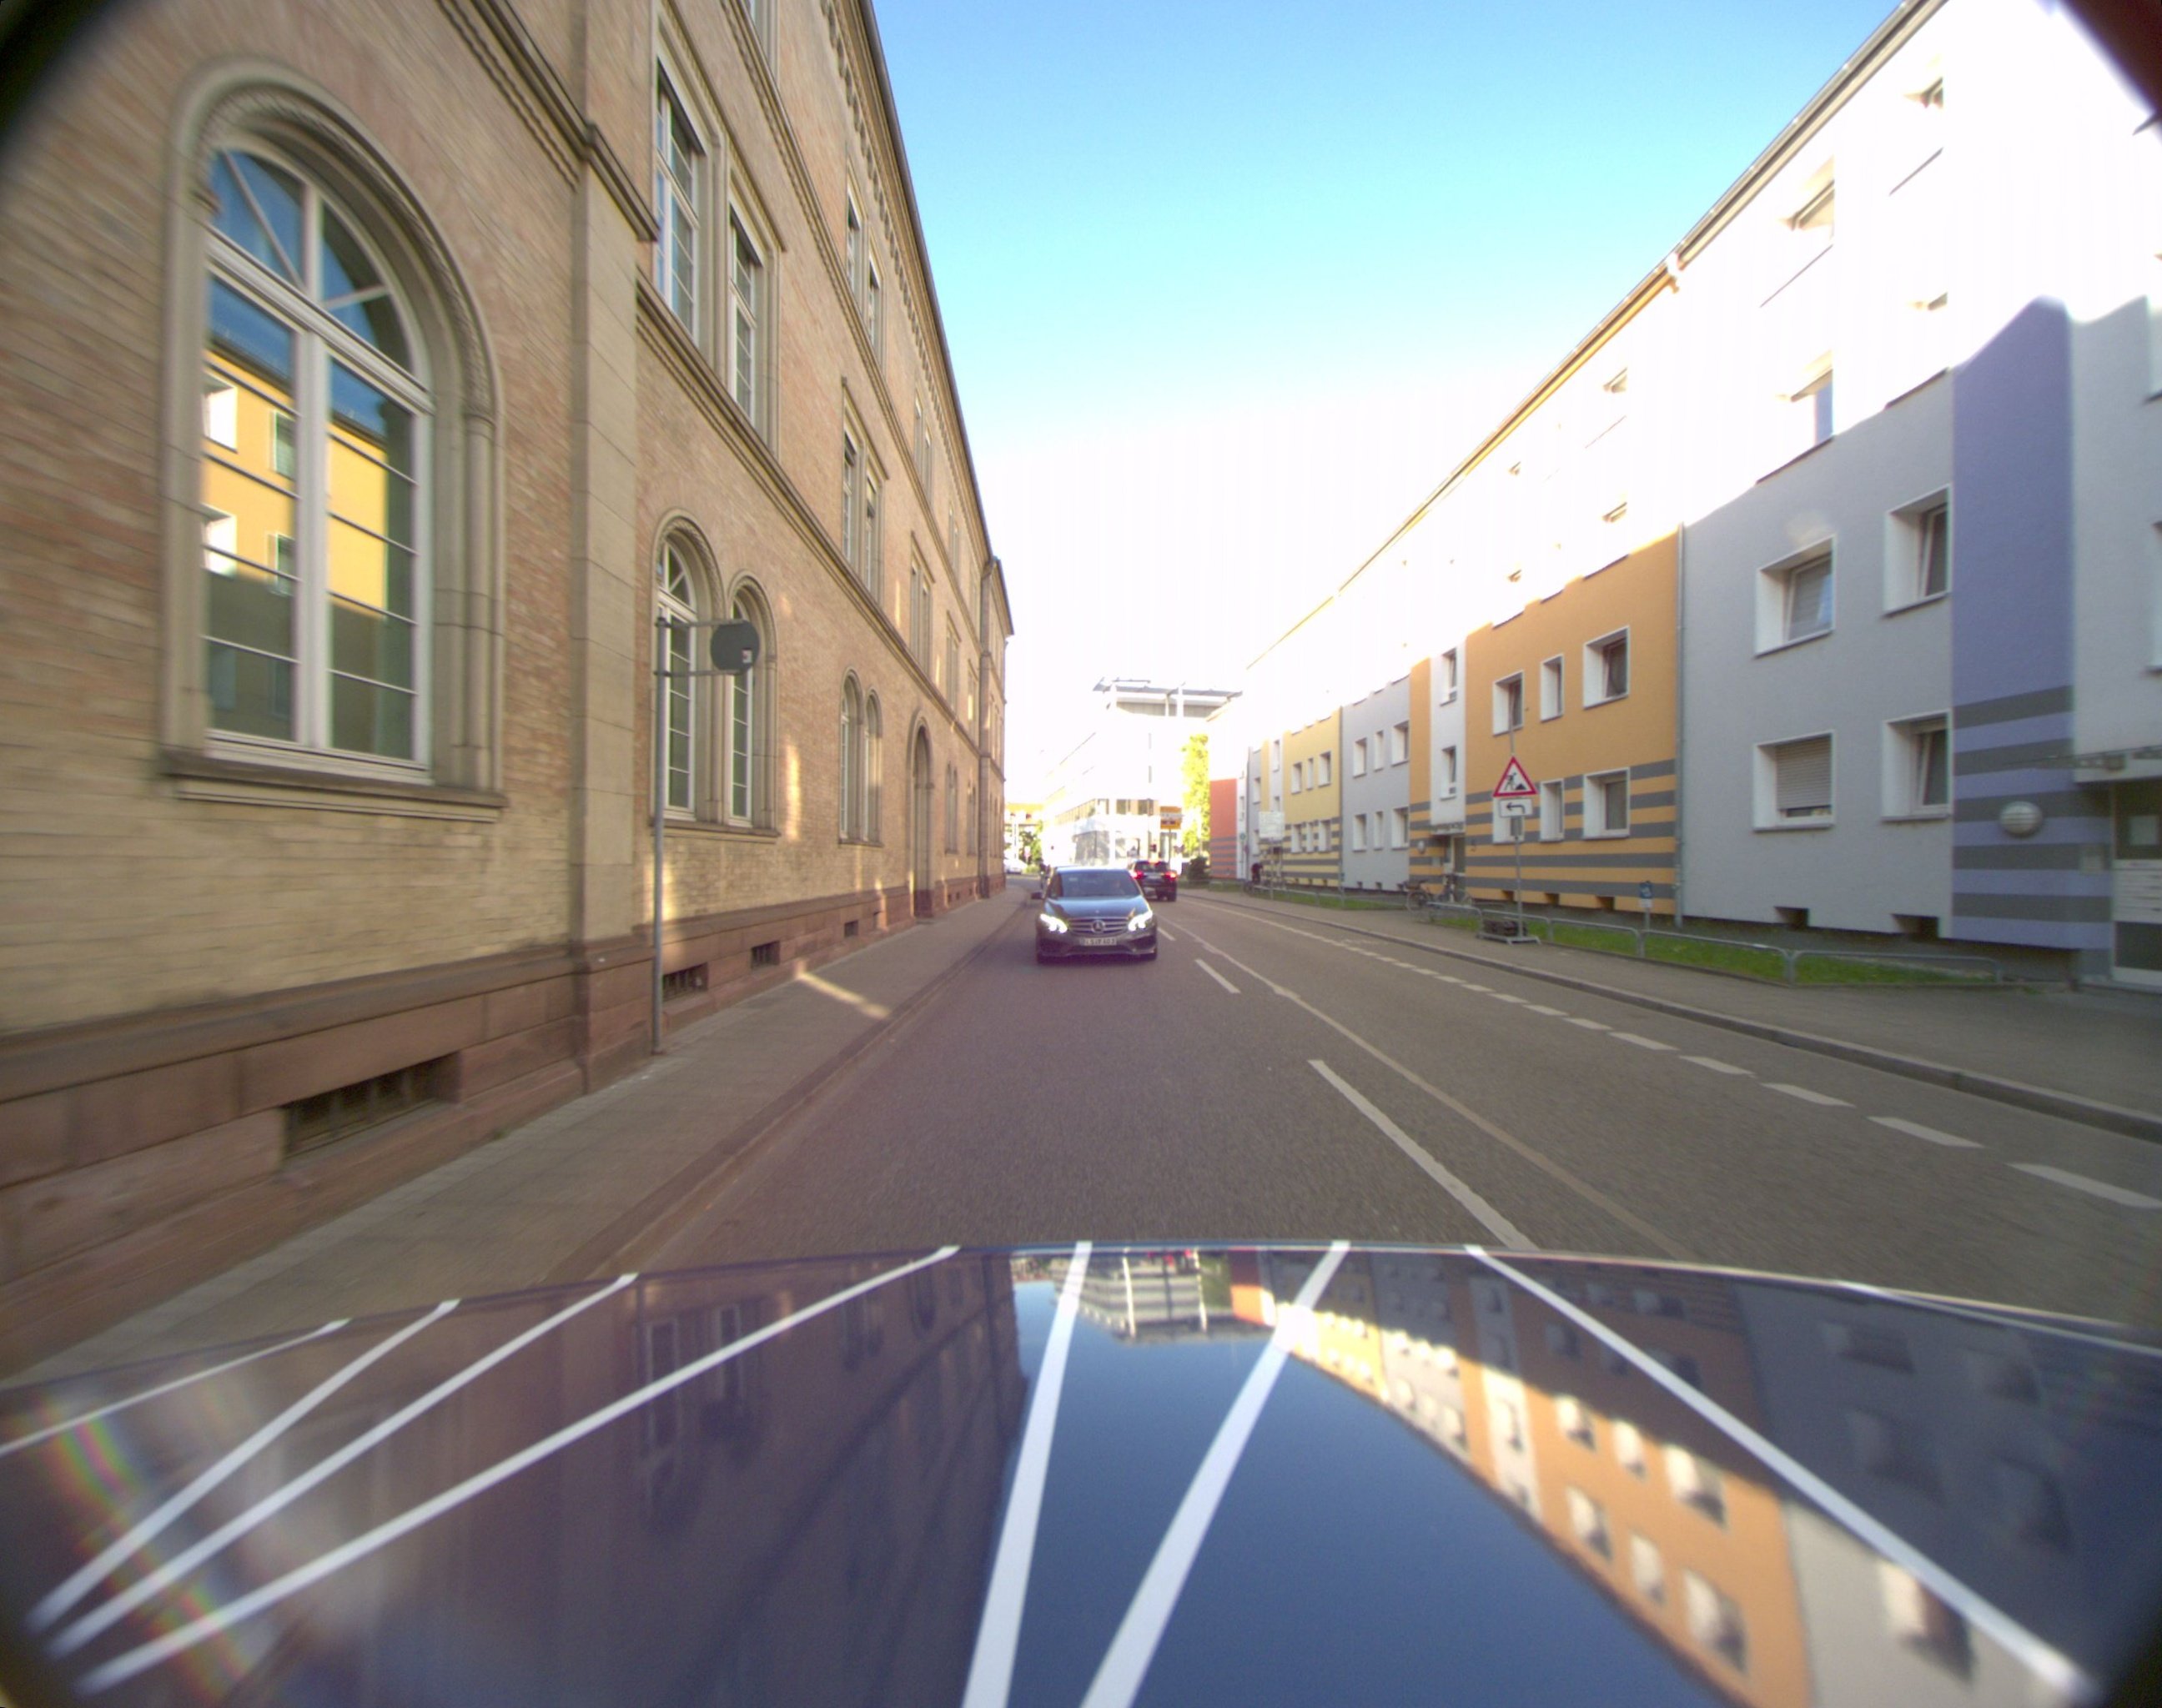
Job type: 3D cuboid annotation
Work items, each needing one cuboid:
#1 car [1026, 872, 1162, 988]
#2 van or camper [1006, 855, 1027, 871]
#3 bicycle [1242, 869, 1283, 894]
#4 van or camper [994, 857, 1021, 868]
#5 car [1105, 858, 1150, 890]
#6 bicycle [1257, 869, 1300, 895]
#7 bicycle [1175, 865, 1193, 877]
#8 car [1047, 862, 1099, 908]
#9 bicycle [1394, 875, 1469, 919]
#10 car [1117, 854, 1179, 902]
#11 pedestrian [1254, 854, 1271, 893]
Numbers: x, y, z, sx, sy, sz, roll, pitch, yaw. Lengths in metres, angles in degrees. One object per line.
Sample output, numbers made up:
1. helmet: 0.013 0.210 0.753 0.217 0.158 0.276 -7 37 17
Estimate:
1. car: 0.235 1.058 12.393 1.798 1.459 4.720 0 0 2
2. van or camper: -8.852 1.210 103.381 2.163 2.002 4.971 0 0 -13
3. bicycle: 8.529 1.288 35.754 1.757 1.138 0.650 0 0 -9
4. van or camper: -13.591 1.548 140.329 4.737 2.074 1.996 0 0 -23
5. car: 2.341 1.006 39.124 1.746 1.477 4.135 2 -1 -4
6. bicycle: 8.919 1.273 34.392 1.757 1.138 0.650 0 0 -9
7. bicycle: 10.230 1.691 75.496 0.471 1.175 1.987 -1 0 -40
8. car: -0.367 1.124 28.971 1.748 1.594 3.999 0 0 -4
9. bicycle: 9.320 1.136 20.228 1.757 1.138 0.650 0 0 -9
10. car: 2.755 0.960 32.326 1.905 1.824 5.094 2 0 -2
11. pedestrian: 8.625 0.907 36.114 0.720 1.843 0.871 0 0 20
